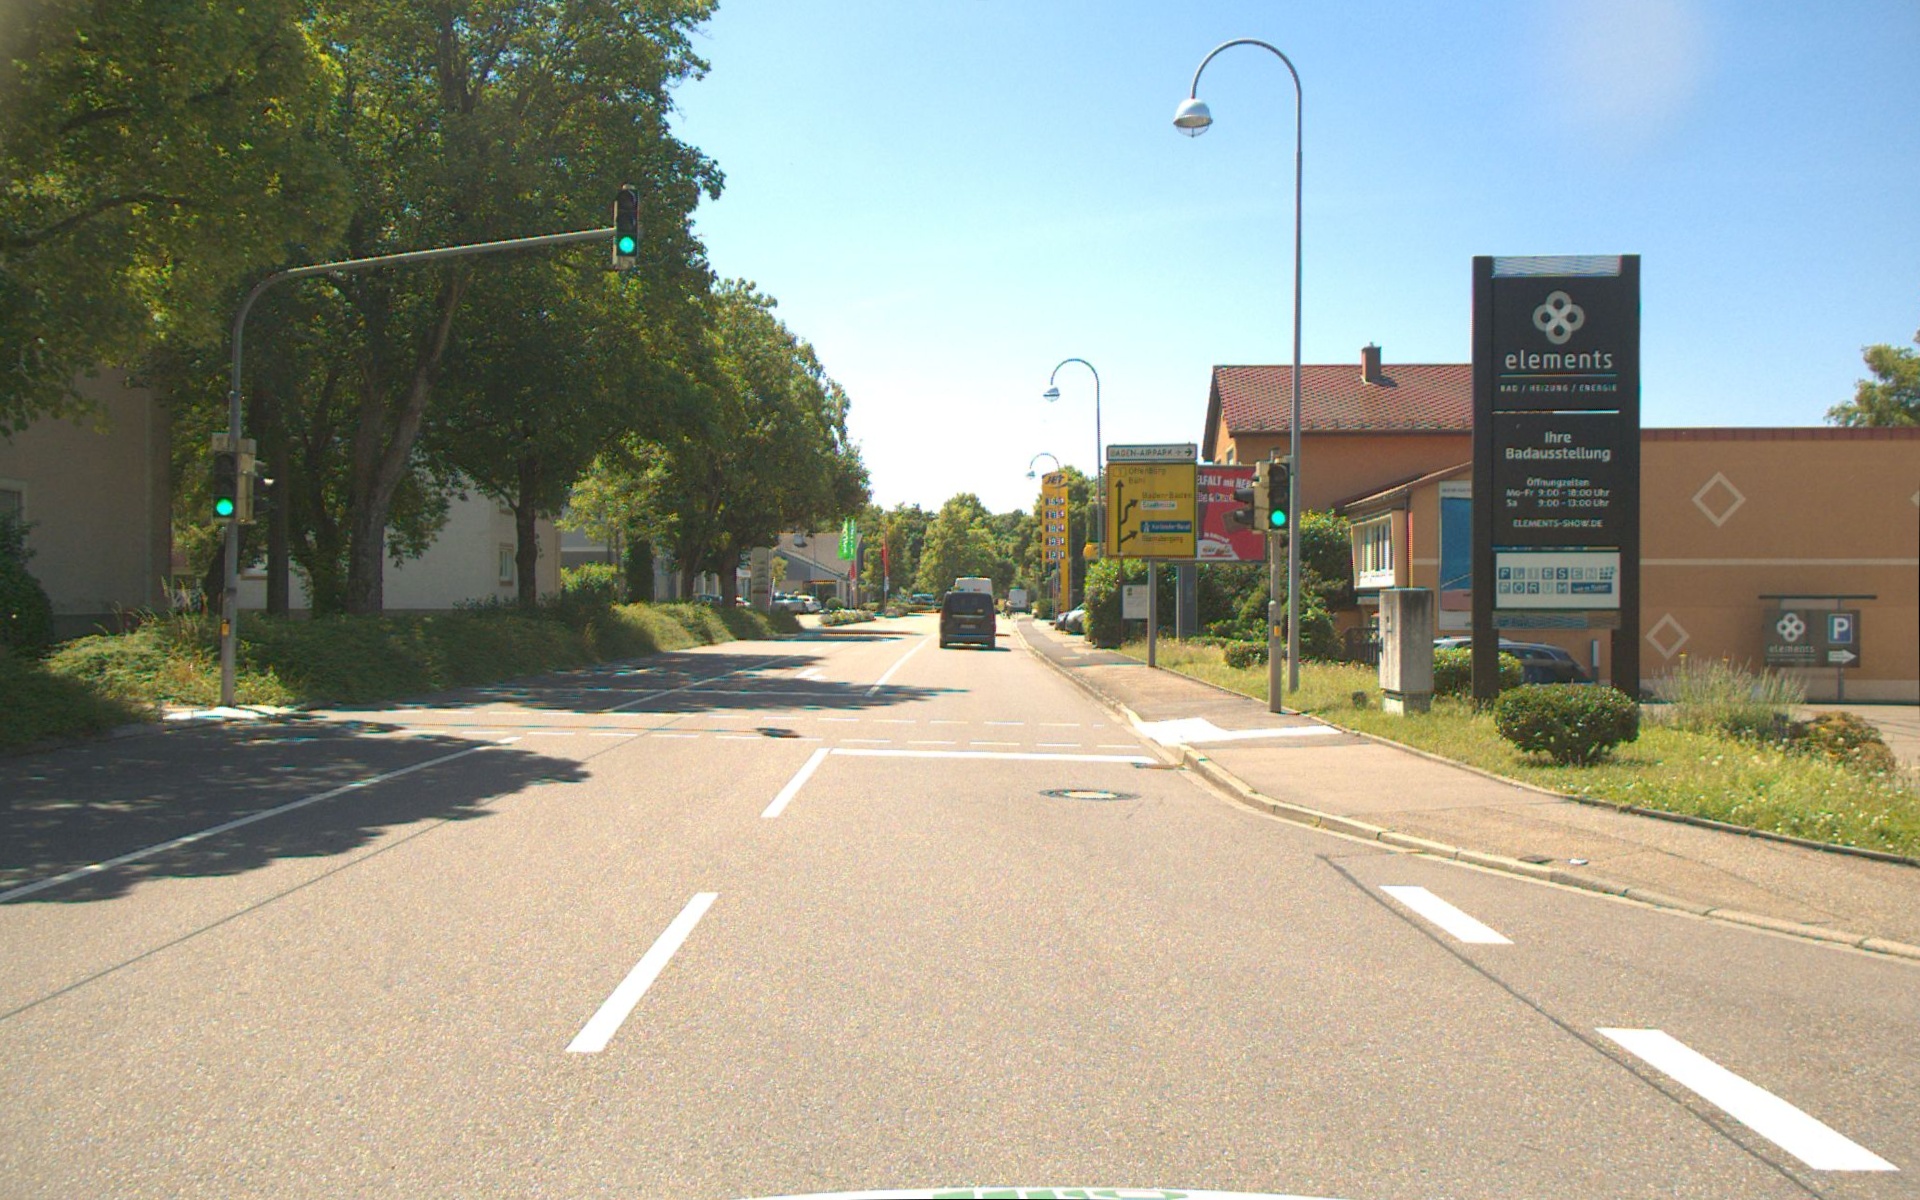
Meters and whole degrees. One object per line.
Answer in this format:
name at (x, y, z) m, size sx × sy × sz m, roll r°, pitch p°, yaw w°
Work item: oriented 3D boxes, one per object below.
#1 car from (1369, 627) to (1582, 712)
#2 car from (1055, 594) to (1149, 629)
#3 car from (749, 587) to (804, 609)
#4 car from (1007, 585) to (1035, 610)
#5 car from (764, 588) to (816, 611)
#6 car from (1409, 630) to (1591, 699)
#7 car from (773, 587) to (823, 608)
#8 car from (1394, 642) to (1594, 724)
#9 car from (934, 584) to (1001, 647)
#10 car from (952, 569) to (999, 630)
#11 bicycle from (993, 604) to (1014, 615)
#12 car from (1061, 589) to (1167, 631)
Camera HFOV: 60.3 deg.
car at (11.524, 1.536, 37.168) m, size 4.183 × 1.675 × 1.890 m, roll 1°, pitch 1°, yaw 2°
car at (6.573, 0.543, 76.962) m, size 4.075 × 1.482 × 1.906 m, roll -1°, pitch 1°, yaw -4°
car at (-14.960, -0.173, 134.907) m, size 3.957 × 1.735 × 1.904 m, roll 2°, pitch 1°, yaw 17°
car at (6.577, -0.308, 176.972) m, size 2.302 × 2.591 × 4.960 m, roll 2°, pitch 1°, yaw 10°
car at (-14.326, -0.051, 139.212) m, size 3.902 × 1.864 × 1.948 m, roll 2°, pitch 1°, yaw 12°
car at (13.871, 1.632, 42.680) m, size 4.169 × 1.627 × 1.891 m, roll 0°, pitch 1°, yaw 7°
car at (-13.975, -0.214, 142.586) m, size 3.902 × 1.691 × 2.002 m, roll 2°, pitch 1°, yaw 10°
car at (10.789, 1.666, 33.608) m, size 3.545 × 1.441 × 1.699 m, roll 2°, pitch 1°, yaw 5°
car at (0.222, 0.477, 55.045) m, size 1.954 × 1.926 × 3.998 m, roll 1°, pitch 1°, yaw -3°
car at (0.713, -0.058, 78.141) m, size 2.076 × 2.724 × 5.662 m, roll 1°, pitch 1°, yaw 0°
bicycle at (3.594, 0.782, 137.918) m, size 1.696 × 0.902 × 0.552 m, roll -1°, pitch 3°, yaw -29°
car at (6.946, 0.452, 74.794) m, size 4.466 × 1.747 × 1.999 m, roll -1°, pitch 1°, yaw -4°
